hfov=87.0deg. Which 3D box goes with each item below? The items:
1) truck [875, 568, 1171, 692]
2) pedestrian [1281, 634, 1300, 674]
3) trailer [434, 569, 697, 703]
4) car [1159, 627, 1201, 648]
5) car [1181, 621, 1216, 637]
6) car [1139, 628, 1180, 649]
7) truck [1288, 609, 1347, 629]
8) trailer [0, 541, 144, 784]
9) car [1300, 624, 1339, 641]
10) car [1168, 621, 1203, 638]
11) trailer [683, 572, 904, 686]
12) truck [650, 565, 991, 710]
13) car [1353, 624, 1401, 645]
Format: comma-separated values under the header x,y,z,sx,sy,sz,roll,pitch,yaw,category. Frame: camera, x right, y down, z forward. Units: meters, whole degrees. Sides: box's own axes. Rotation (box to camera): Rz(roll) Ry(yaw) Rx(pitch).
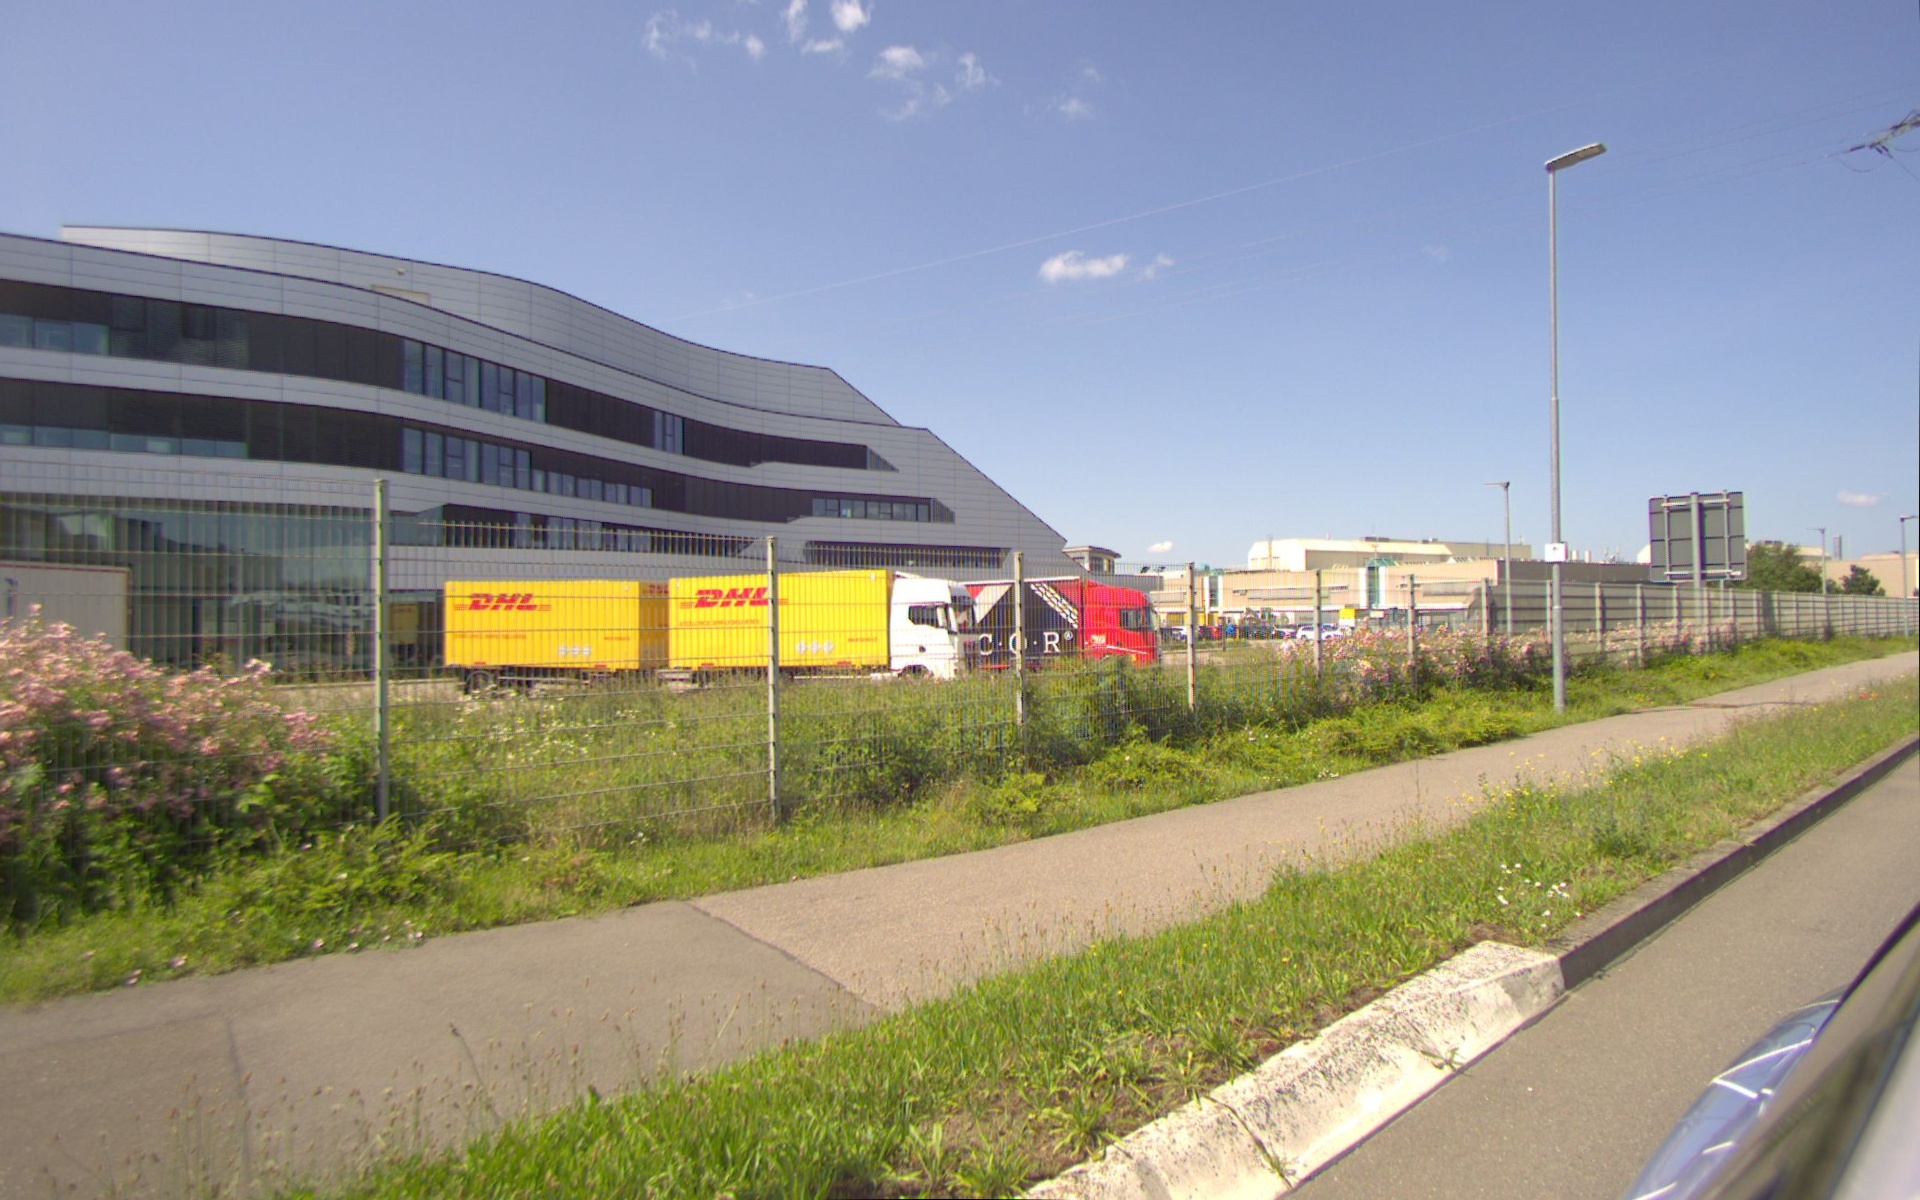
x,y,z,sx,sy,sz,roll,pitch,yaw,category
2.360,1.043,38.347,10.827,4.310,3.011,0,0,18,truck
14.153,2.295,43.322,0.563,1.674,0.484,0,-2,-36,pedestrian
-13.771,1.164,35.450,8.589,4.350,2.889,0,0,15,trailer
17.521,2.980,80.692,1.443,1.554,3.057,0,-1,-34,car
23.098,2.824,98.042,1.443,1.554,3.057,0,-1,-34,car
15.602,3.005,79.185,1.443,1.554,3.057,0,-1,-34,car
59.422,3.089,168.124,11.612,3.178,2.001,0,-2,-29,truck
-24.051,1.163,21.967,13.874,4.494,2.751,0,0,18,trailer
32.566,2.949,91.776,1.443,1.554,3.057,0,-1,-34,car
21.435,2.832,96.141,1.443,1.554,3.057,0,-1,-34,car
-6.815,1.082,41.440,8.601,4.350,3.011,0,0,19,trailer
-4.579,1.080,32.624,10.830,4.225,2.806,0,0,19,truck
32.396,2.663,78.701,1.427,1.554,3.152,0,-2,-34,car
